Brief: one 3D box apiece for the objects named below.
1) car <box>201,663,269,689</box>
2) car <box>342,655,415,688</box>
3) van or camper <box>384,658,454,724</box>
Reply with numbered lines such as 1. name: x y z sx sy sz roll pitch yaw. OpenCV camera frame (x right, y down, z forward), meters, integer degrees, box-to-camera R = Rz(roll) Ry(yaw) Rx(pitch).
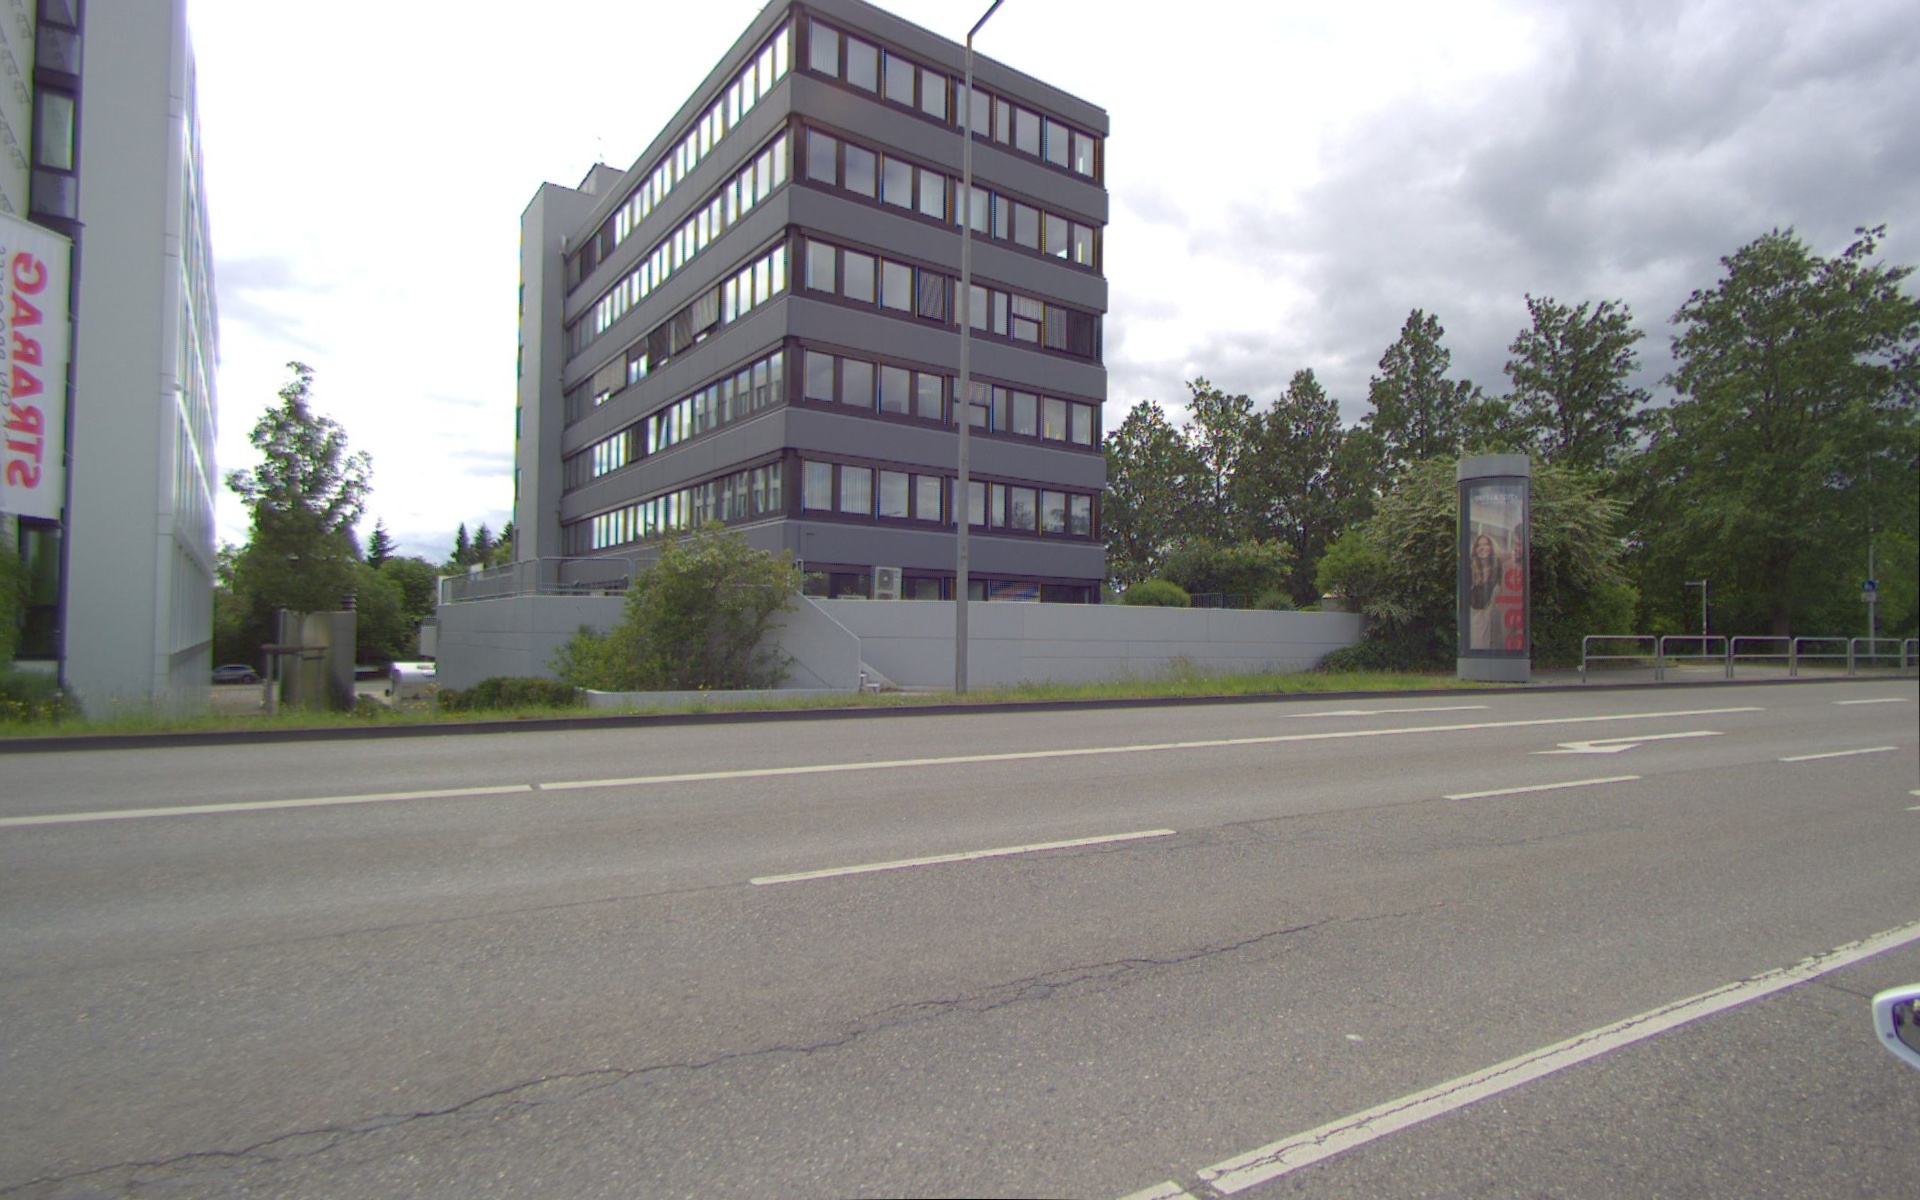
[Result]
1. car: -60.169 6.270 83.428 4.518 1.859 1.845 2 0 -39
2. car: -52.666 6.439 90.989 5.554 2.678 1.950 2 0 -34
3. van or camper: -25.024 4.091 46.321 2.435 2.398 7.064 1 0 -31
